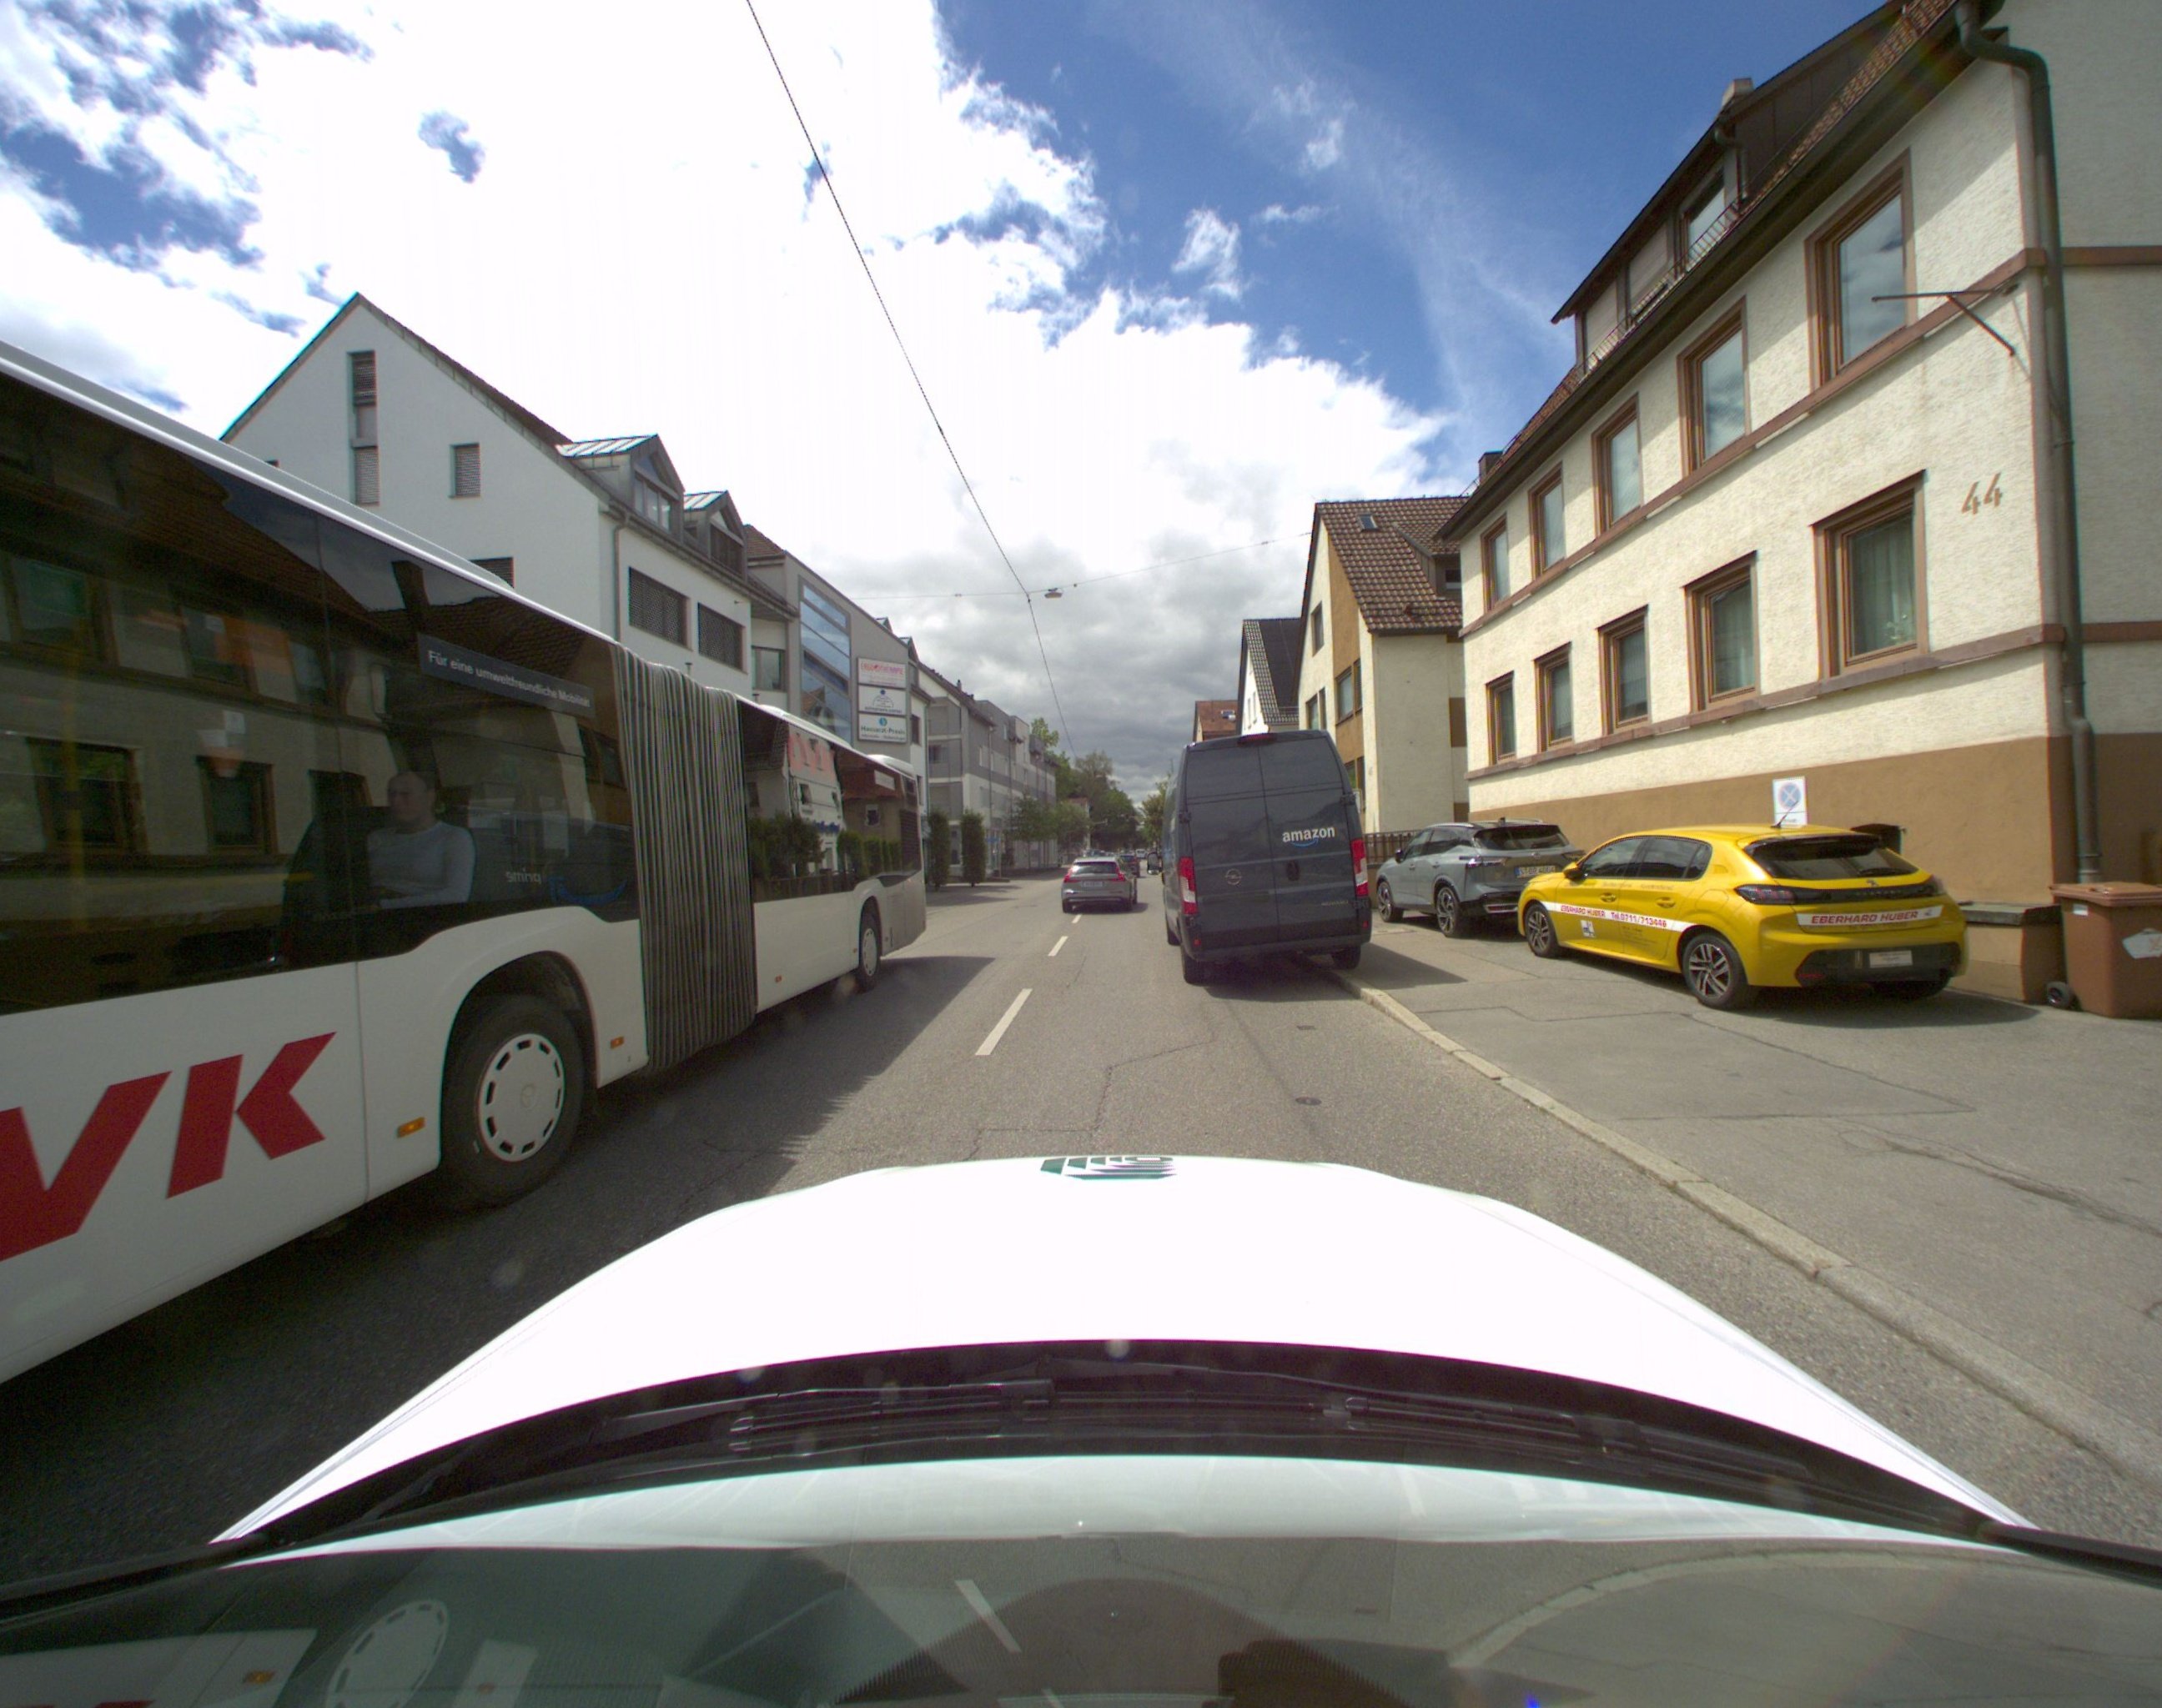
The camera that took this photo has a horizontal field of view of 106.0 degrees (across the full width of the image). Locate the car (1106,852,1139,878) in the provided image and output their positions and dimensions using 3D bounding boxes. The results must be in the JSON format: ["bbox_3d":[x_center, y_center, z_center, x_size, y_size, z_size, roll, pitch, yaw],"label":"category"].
[{"bbox_3d":[2.588,0.660,50.371,1.888,1.446,3.973,-2,0,5],"label":"car"}]

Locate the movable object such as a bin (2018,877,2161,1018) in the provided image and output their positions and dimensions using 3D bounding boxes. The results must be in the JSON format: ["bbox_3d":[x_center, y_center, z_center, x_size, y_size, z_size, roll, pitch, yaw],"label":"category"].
[{"bbox_3d":[7.333,0.648,5.848,0.498,0.925,0.599,-2,0,6],"label":"movable object such as a bin"}]

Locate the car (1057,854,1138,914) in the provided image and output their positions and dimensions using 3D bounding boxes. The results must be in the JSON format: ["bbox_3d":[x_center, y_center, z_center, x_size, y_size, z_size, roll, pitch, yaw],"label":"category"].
[{"bbox_3d":[0.548,0.777,22.769,1.887,1.453,3.975,-2,0,6],"label":"car"}]

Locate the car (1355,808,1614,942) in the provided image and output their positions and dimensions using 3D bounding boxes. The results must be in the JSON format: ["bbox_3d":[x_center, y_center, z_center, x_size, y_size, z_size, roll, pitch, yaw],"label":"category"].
[{"bbox_3d":[5.948,0.257,12.740,1.853,1.612,4.588,-3,0,2],"label":"car"}]

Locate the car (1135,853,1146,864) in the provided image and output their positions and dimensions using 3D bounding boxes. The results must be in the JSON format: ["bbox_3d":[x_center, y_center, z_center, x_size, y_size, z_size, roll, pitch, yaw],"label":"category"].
[{"bbox_3d":[11.083,0.774,151.914,1.984,2.013,4.005,-2,0,4],"label":"car"}]

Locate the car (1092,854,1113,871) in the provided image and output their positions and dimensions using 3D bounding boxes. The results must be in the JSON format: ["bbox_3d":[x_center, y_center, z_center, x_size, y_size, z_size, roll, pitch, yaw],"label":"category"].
[{"bbox_3d":[2.267,0.873,86.368,2.097,1.709,4.768,-2,0,2],"label":"car"}]

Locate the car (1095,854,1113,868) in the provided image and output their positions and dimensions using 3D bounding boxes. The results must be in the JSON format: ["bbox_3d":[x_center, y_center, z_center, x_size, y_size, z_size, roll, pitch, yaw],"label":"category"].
[{"bbox_3d":[2.787,0.849,98.956,2.097,1.596,4.652,-2,0,2],"label":"car"}]

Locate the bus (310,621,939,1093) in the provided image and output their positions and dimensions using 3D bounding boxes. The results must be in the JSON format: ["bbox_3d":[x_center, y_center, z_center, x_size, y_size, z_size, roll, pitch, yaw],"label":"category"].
[{"bbox_3d":[-3.875,0.020,9.678,2.706,3.163,8.069,-2,0,1],"label":"bus"}]

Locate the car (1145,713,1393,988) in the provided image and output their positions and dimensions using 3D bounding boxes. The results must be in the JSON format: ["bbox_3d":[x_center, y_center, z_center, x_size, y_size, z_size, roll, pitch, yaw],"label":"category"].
[{"bbox_3d":[2.186,-0.038,11.306,2.244,2.795,5.572,-2,0,2],"label":"car"}]

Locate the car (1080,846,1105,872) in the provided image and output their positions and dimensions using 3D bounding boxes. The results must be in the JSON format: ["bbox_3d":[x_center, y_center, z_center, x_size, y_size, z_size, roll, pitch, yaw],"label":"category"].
[{"bbox_3d":[1.089,0.429,74.569,2.097,2.121,4.768,-4,0,2],"label":"car"}]

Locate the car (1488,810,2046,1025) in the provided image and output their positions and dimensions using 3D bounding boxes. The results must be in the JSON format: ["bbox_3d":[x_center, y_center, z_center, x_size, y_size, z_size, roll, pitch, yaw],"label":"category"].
[{"bbox_3d":[5.961,0.369,7.945,1.870,1.447,4.308,-3,2,1],"label":"car"}]

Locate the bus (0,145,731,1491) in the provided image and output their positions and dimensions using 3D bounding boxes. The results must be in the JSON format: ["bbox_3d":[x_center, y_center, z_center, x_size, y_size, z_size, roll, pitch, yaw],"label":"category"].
[{"bbox_3d":[-3.862,-0.071,0.696,2.674,3.163,10.181,-2,0,0],"label":"bus"}]

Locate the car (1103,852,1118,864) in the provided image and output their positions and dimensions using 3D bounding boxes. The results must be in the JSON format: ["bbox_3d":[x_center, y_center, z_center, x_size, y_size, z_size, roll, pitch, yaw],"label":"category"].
[{"bbox_3d":[4.384,0.611,119.647,2.097,1.596,4.652,-2,0,2],"label":"car"}]
